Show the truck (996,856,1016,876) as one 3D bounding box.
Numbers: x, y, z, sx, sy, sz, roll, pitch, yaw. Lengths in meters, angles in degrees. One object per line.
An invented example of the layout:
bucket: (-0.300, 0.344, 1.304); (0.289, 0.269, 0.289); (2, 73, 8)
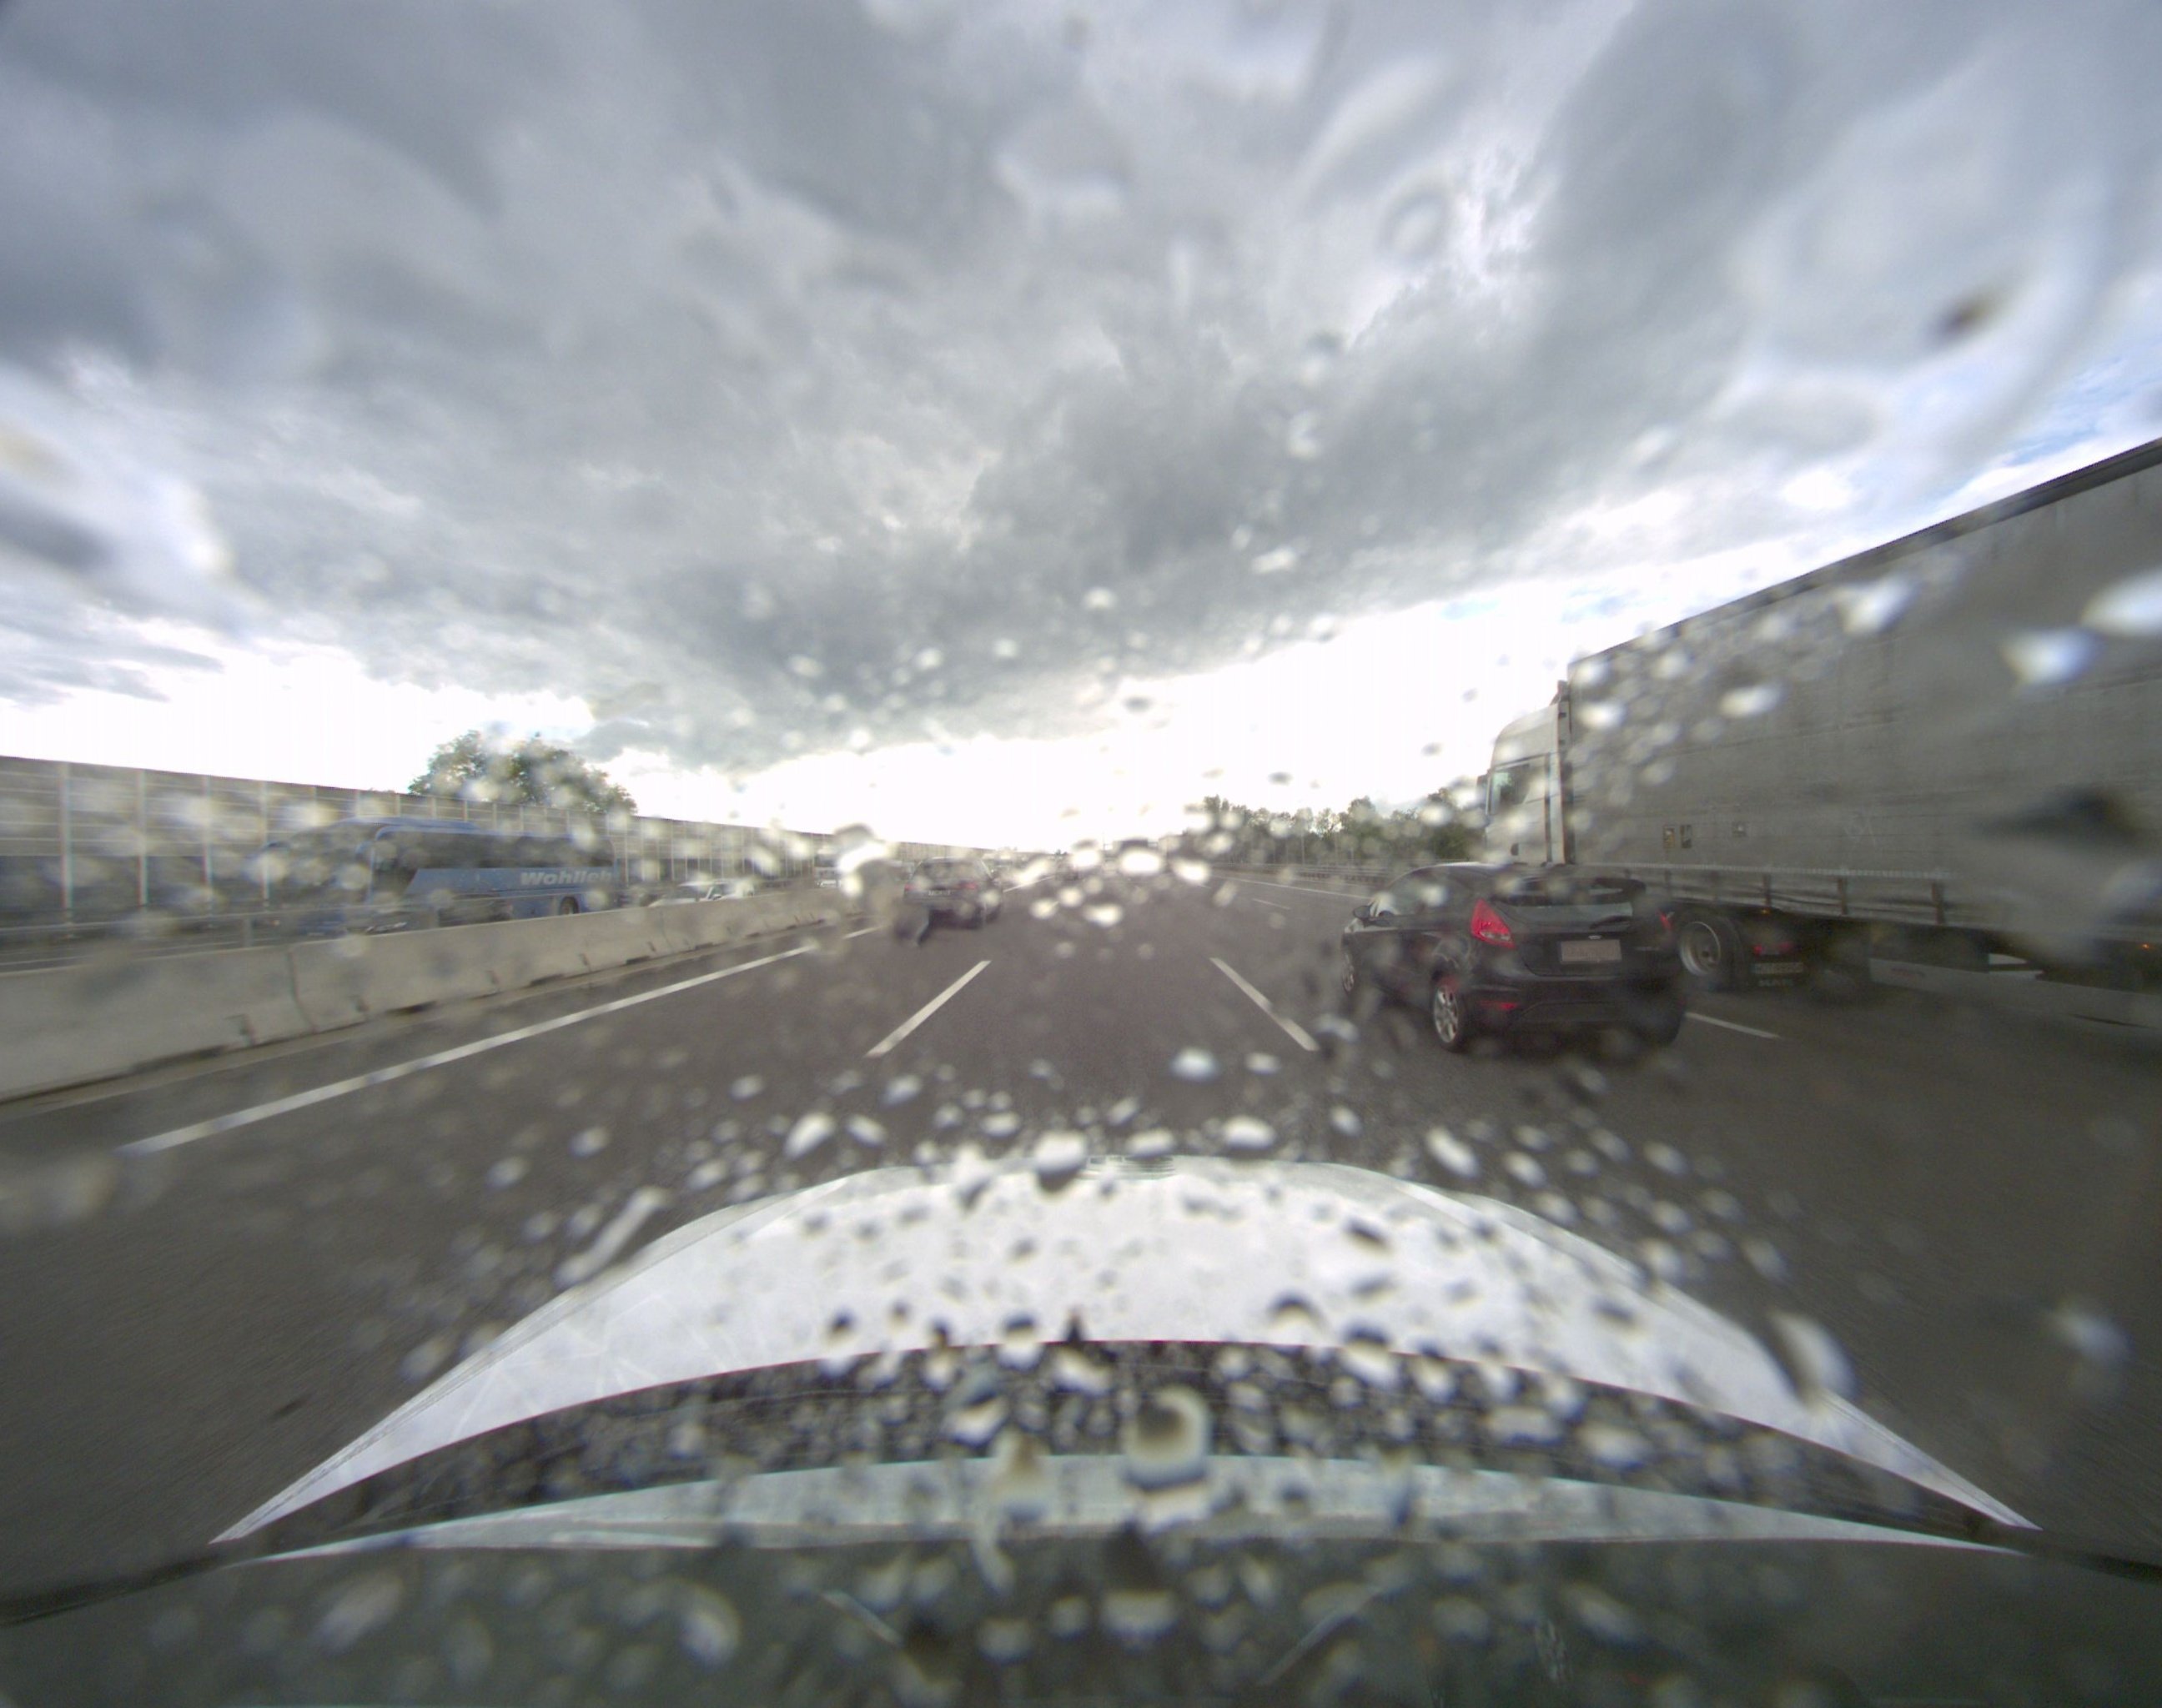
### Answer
truck: (-14.977, 2.304, 163.452); (3.067, 3.935, 8.057); (0, 0, 2)

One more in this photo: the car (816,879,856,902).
car: (-19.368, 2.872, 64.638); (1.741, 1.525, 4.180); (-2, 0, 2)

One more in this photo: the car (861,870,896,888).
car: (-18.810, 2.290, 75.809); (1.741, 1.525, 5.142); (-2, 0, 2)

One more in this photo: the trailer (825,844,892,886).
trailer: (-22.522, 1.066, 83.523); (2.553, 3.935, 13.823); (0, 0, 2)

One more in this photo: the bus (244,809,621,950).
bus: (-21.050, 0.710, 28.144); (3.080, 3.758, 11.887); (-2, 0, 2)

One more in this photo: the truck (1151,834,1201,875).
truck: (10.415, 0.030, 90.962); (4.166, 4.288, 12.612); (0, 0, 0)

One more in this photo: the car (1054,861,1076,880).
car: (-1.303, 1.309, 66.721); (1.755, 1.369, 5.058); (-1, 0, -1)

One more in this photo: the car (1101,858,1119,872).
car: (3.329, 1.258, 94.238); (1.767, 1.441, 4.053); (-1, 0, -1)

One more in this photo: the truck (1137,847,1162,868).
truck: (13.988, 0.636, 166.715); (4.229, 4.176, 11.990); (0, 0, 1)

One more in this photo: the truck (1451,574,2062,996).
truck: (7.992, -0.673, 11.129); (2.951, 4.020, 6.590); (-1, 0, 1)

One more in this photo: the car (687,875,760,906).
car: (-20.334, 2.035, 46.592); (1.875, 1.525, 4.823); (-2, 0, 2)

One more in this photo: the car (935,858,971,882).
car: (-11.803, 1.418, 75.688); (2.151, 2.071, 6.017); (-2, 0, 2)

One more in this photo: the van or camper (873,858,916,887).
van or camper: (-18.708, 1.787, 81.970); (2.335, 2.641, 7.153); (-2, 0, 2)

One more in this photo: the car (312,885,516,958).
car: (-17.169, 1.665, 21.287); (1.741, 1.525, 4.180); (-2, 0, 2)

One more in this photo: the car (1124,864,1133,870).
car: (11.701, 3.222, 200.354); (1.829, 1.441, 4.055); (-1, 0, 1)

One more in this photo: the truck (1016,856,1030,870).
truck: (-14.232, 2.092, 200.040); (2.312, 3.347, 8.357); (0, 0, 2)

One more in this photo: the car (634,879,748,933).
car: (-13.309, 1.727, 28.108); (1.741, 1.525, 4.180); (-2, 0, 2)

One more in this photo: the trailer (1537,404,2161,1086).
trailer: (7.848, -0.654, 4.535); (2.950, 4.020, 14.121); (-1, 0, 1)

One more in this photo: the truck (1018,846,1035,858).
truck: (-15.466, -0.462, 233.791); (3.254, 3.352, 16.092); (0, 0, 2)

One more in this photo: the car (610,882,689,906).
car: (-24.167, 2.206, 45.775); (1.875, 1.114, 4.496); (-2, 0, 2)

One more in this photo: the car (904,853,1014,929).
car: (-2.990, 0.846, 21.046); (1.901, 1.691, 5.170); (-1, 0, 1)

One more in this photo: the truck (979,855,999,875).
truck: (-19.546, 2.249, 173.471); (2.700, 4.074, 8.919); (0, 0, 2)

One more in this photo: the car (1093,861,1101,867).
car: (3.906, 2.335, 195.579); (1.767, 1.441, 3.872); (-1, 0, -1)

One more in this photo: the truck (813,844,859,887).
truck: (-22.821, 1.056, 76.119); (2.566, 3.935, 5.179); (0, 0, 2)

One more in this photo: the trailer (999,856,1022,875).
trailer: (-14.671, 2.314, 170.632); (3.067, 3.935, 14.989); (0, 0, 2)

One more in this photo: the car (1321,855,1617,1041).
car: (3.531, 0.745, 8.016); (1.442, 1.441, 3.164); (-1, 0, 1)

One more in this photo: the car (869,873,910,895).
car: (-15.816, 2.461, 67.612); (2.071, 1.659, 4.804); (-2, 0, 2)

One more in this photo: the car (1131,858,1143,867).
car: (9.649, 1.420, 140.998); (1.829, 1.441, 4.055); (-1, 0, 1)
